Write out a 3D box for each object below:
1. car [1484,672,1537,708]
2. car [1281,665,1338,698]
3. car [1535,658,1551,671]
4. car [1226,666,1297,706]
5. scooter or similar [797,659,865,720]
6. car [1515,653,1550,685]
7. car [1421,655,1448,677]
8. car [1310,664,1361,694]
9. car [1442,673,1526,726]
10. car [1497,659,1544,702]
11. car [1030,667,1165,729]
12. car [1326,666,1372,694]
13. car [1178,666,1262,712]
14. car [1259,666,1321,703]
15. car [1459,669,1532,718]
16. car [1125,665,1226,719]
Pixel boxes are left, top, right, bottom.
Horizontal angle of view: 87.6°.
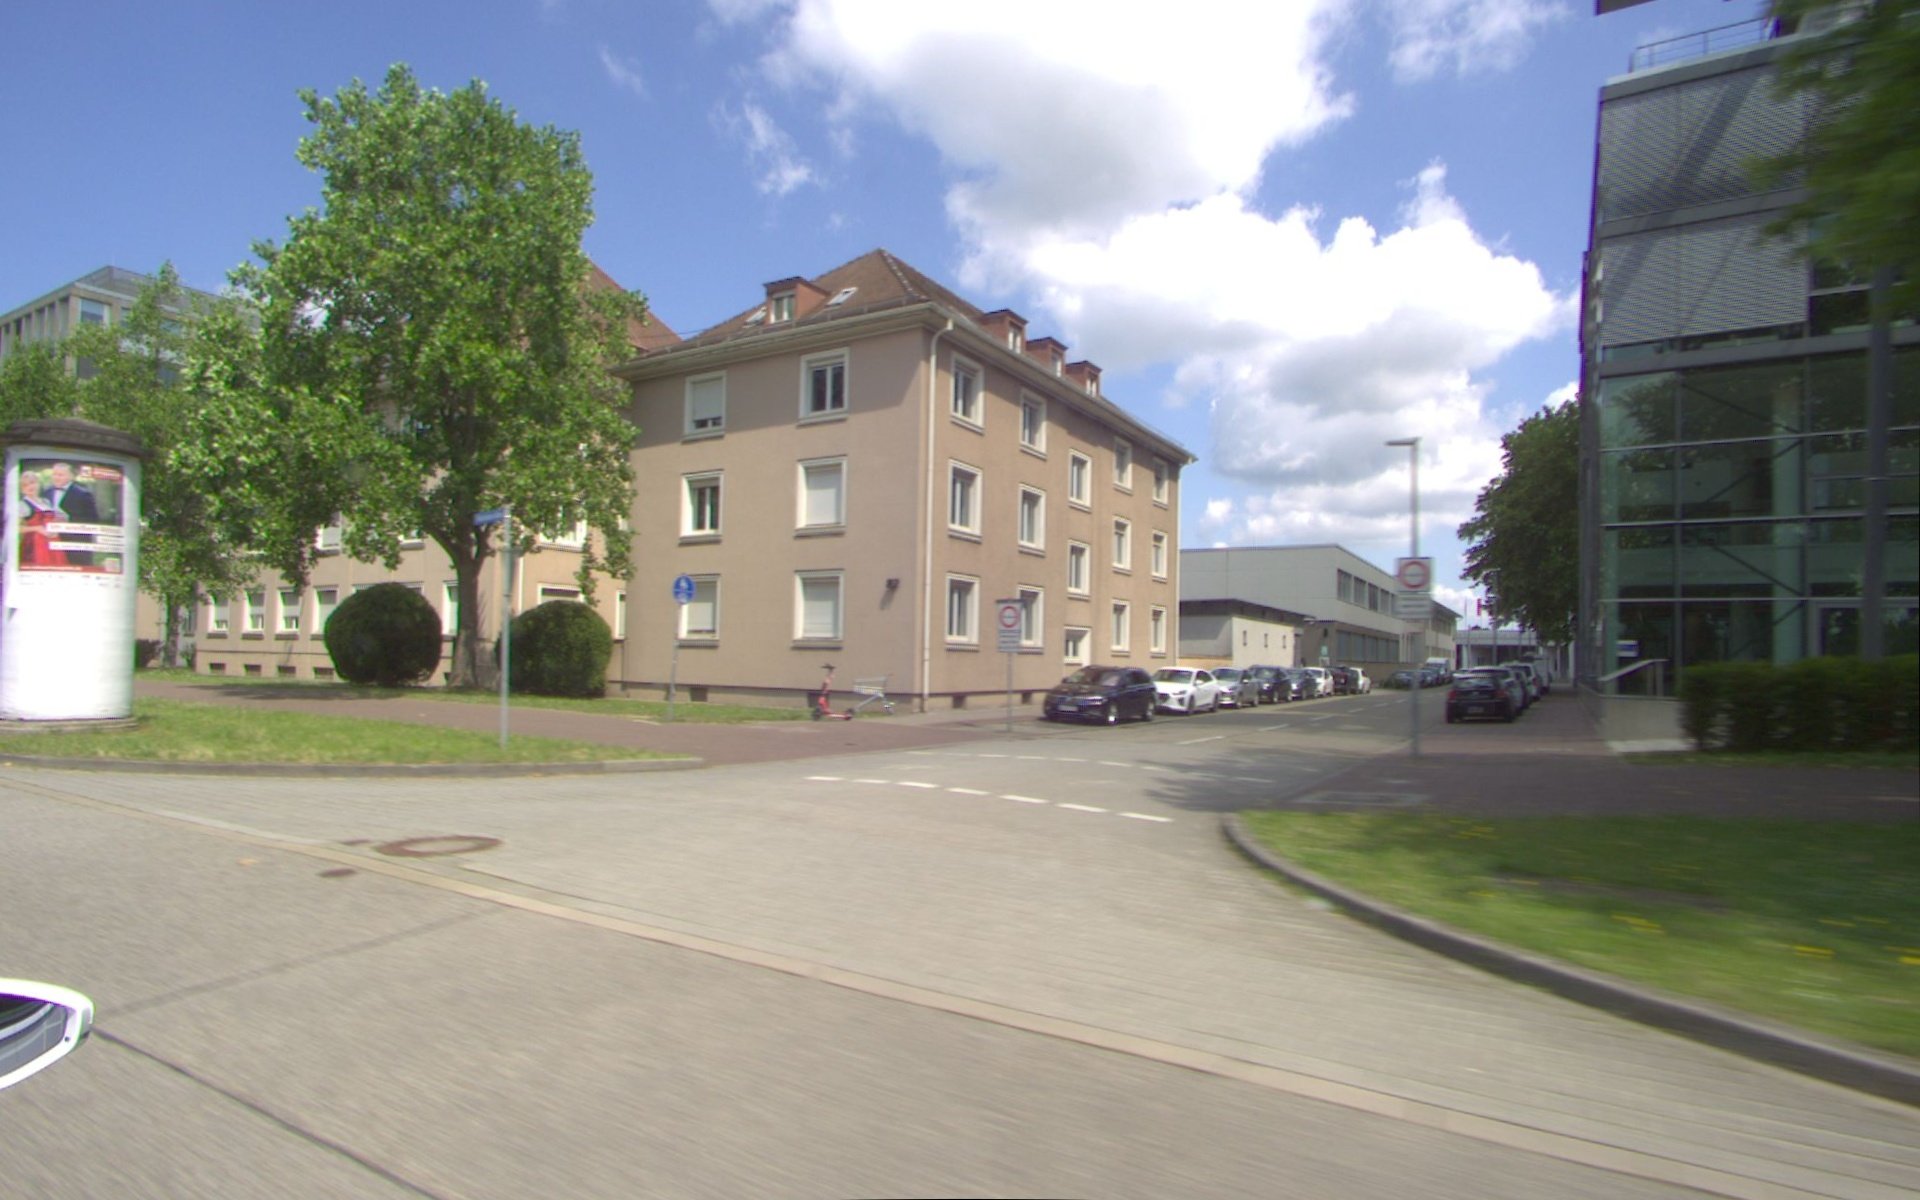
[{"bbox_3d":[25.219,4.081,45.810,1.793,1.566,3.981,-3,-4,33],"label":"car"},{"bbox_3d":[17.460,4.020,49.871,1.835,1.464,4.053,3,-2,31],"label":"car"},{"bbox_3d":[85.728,9.507,147.335,1.793,1.793,3.981,-3,-5,33],"label":"car"},{"bbox_3d":[12.616,3.547,41.729,1.835,1.464,4.053,3,-2,31],"label":"car"},{"bbox_3d":[-2.852,1.971,22.245,1.430,1.319,0.542,3,-3,-43],"label":"scooter or similar"},{"bbox_3d":[43.584,5.267,76.182,1.967,2.334,4.580,-3,-4,33],"label":"car"},{"bbox_3d":[45.853,6.337,96.766,1.793,2.060,3.981,-2,-4,33],"label":"car"},{"bbox_3d":[20.546,4.278,54.739,1.835,1.464,4.053,3,-2,31],"label":"car"},{"bbox_3d":[15.786,2.963,30.048,1.794,1.435,3.981,-5,-6,33],"label":"car"},{"bbox_3d":[28.794,4.111,51.372,1.793,2.107,3.981,-2,-4,33],"label":"car"},{"bbox_3d":[3.727,2.515,26.436,1.970,1.371,4.449,2,-2,30],"label":"car"},{"bbox_3d":[23.070,4.689,59.344,1.835,1.464,4.053,3,-2,31],"label":"car"},{"bbox_3d":[9.563,3.215,36.648,1.835,1.464,4.053,3,-2,31],"label":"car"},{"bbox_3d":[15.187,3.835,45.954,1.835,1.464,4.053,3,-2,31],"label":"car"},{"bbox_3d":[18.501,3.200,34.522,1.794,1.566,3.981,-5,-6,33],"label":"car"},{"bbox_3d":[7.002,2.898,32.178,1.835,1.464,4.296,3,-2,31],"label":"car"}]
